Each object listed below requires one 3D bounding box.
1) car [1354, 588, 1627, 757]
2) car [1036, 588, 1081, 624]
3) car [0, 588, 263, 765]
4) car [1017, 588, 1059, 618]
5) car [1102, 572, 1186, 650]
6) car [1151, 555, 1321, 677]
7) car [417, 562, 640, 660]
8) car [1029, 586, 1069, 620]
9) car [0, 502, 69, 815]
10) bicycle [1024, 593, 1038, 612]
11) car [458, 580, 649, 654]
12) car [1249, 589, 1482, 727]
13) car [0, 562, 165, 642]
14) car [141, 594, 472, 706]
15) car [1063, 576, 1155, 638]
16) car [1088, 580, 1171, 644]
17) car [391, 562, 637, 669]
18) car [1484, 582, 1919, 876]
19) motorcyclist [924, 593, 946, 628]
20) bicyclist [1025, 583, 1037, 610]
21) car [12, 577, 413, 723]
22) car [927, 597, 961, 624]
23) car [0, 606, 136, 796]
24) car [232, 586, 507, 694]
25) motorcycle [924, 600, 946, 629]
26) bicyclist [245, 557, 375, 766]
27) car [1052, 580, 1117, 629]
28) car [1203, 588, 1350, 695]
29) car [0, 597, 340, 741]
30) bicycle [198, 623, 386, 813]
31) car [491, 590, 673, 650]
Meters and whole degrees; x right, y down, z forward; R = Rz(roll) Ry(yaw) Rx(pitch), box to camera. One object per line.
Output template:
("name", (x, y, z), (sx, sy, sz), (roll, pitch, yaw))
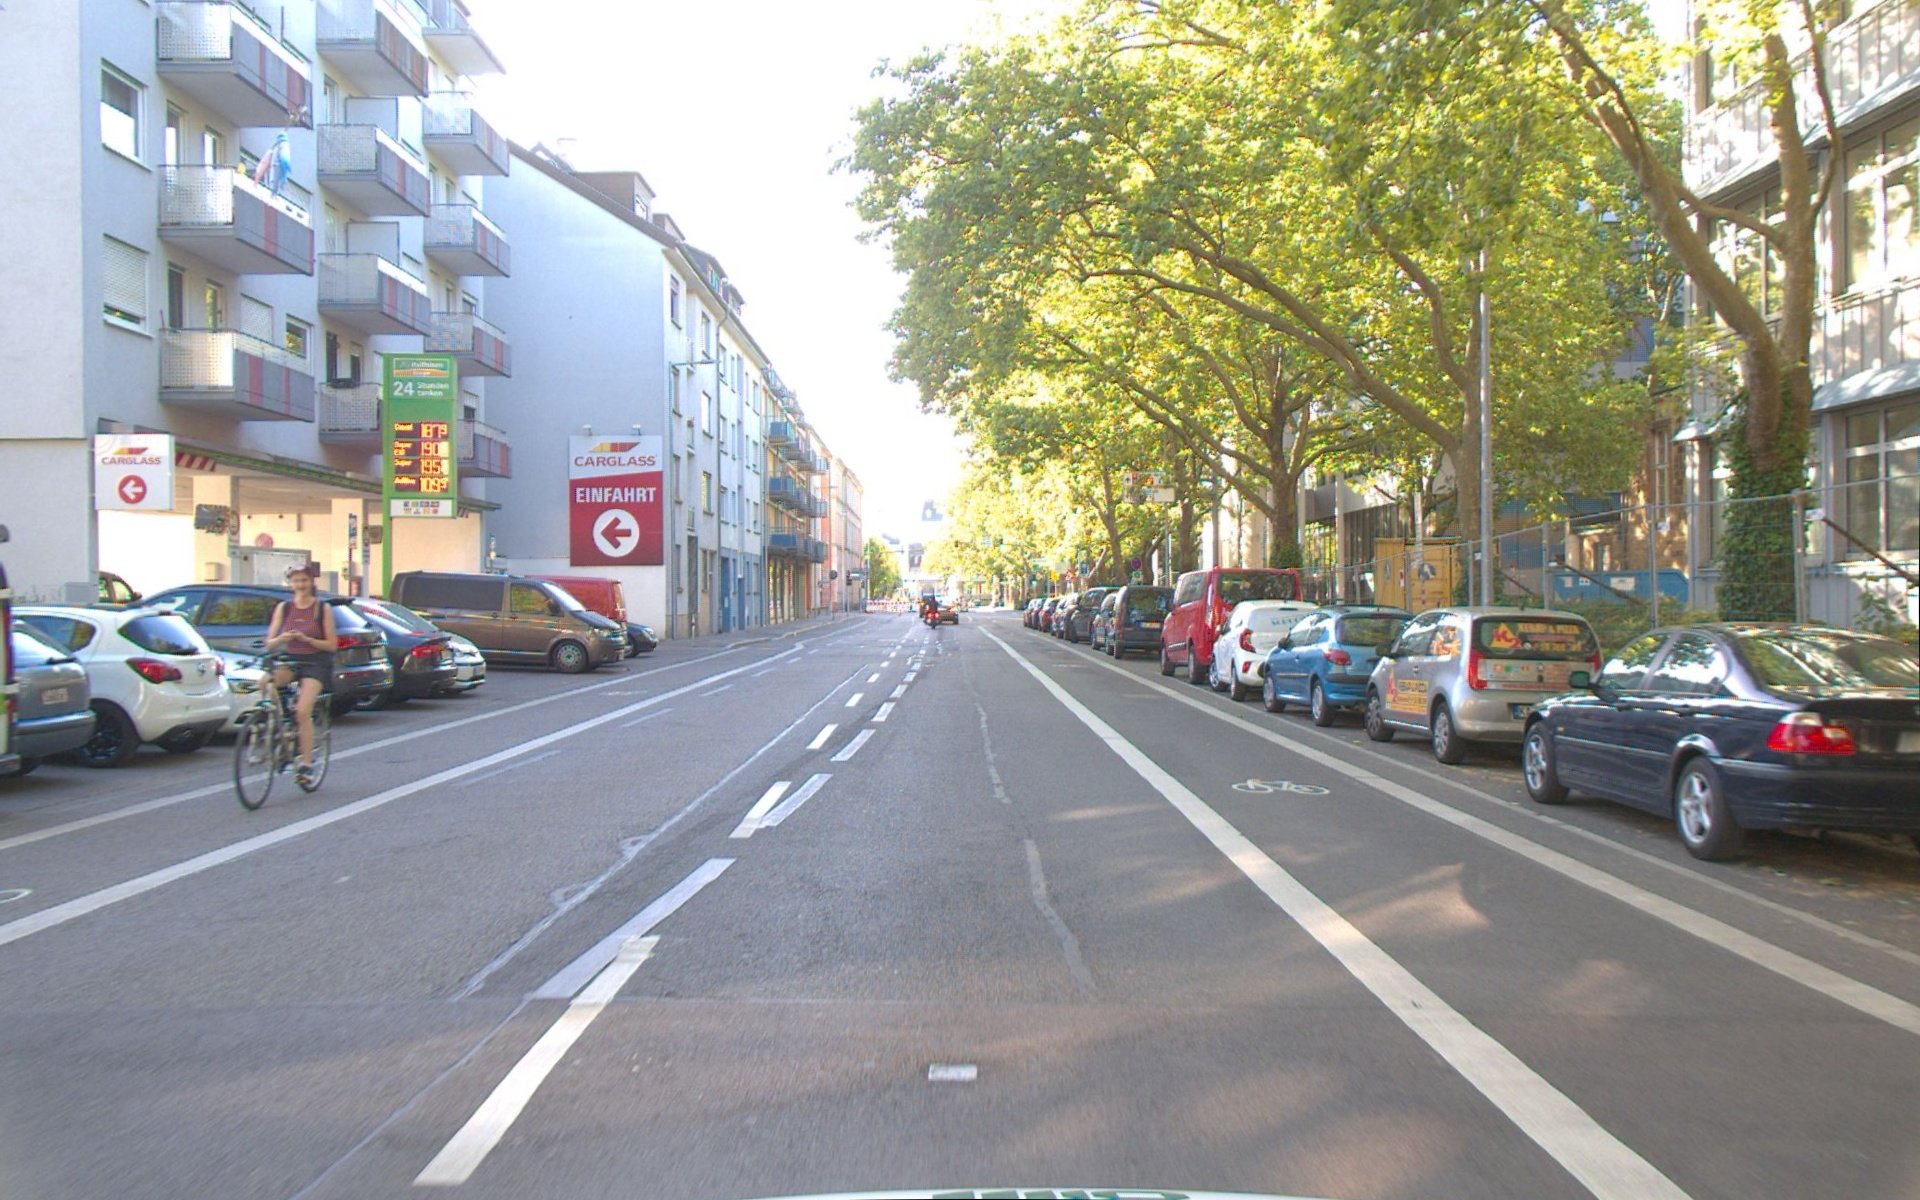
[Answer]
("car", (5.319, 0.662, 17.038), (1.581, 1.501, 3.492), (2, 1, -2))
("car", (4.321, 0.251, 73.182), (1.658, 1.505, 4.318), (1, 0, -1))
("car", (-9.154, 0.691, 16.136), (3.906, 1.586, 1.853), (1, 1, -1))
("car", (3.927, 0.130, 83.509), (1.659, 1.475, 4.433), (1, 0, -3))
("car", (4.621, 0.260, 42.025), (1.658, 1.844, 4.130), (1, 0, 0))
("car", (5.013, 0.253, 30.771), (2.036, 2.029, 5.169), (1, 0, -3))
("car", (-9.526, 0.229, 36.787), (4.331, 1.985, 2.146), (2, 0, -1))
("car", (4.221, 0.125, 78.635), (1.658, 1.492, 4.065), (1, 0, 0))
("car", (-9.276, 0.375, 11.672), (4.746, 2.255, 2.139), (1, 0, -1))
("bicycle", (4.145, 0.156, 96.365), (0.643, 1.089, 1.926), (1, 0, -1))
("car", (-9.731, 0.392, 39.856), (4.088, 1.591, 1.886), (2, 0, -1))
("car", (5.119, 0.672, 21.427), (1.818, 1.537, 3.926), (2, 1, -3))
("car", (-20.800, 0.061, 39.234), (1.686, 1.777, 4.584), (-1, 0, -1))
("car", (-9.161, 0.677, 23.426), (3.906, 1.481, 1.916), (1, 0, -1))
("car", (4.763, 0.185, 53.445), (1.791, 1.873, 4.889), (1, 0, -9))
("car", (4.729, 0.310, 46.648), (1.659, 1.656, 4.327), (1, 0, -3))
("car", (-9.080, 0.305, 33.979), (4.430, 1.985, 2.056), (2, 0, -1))
("car", (5.229, 0.676, 11.138), (1.817, 1.549, 4.598), (1, 1, -2))
("motorcyclist", (-1.200, 0.474, 77.983), (0.992, 1.630, 1.405), (-1, 0, -2))
("bicyclist", (4.152, -0.188, 96.435), (0.643, 1.557, 0.852), (1, 0, -2))
("car", (-9.299, 0.594, 20.856), (4.109, 1.713, 2.028), (1, 0, -1))
("car", (-0.892, 0.570, 90.222), (1.791, 1.445, 3.814), (0, 0, -2))
("car", (-9.354, 0.784, 13.891), (3.906, 1.458, 1.852), (1, 0, -1))
("car", (-9.176, 0.602, 25.906), (3.610, 1.540, 1.830), (1, 0, -1))
("motorcycle", (-1.186, 0.656, 77.890), (0.992, 1.329, 2.672), (-1, 0, -1))
("bicyclist", (-5.120, 0.461, 13.076), (0.594, 1.571, 0.934), (-2, 1, -1))
("car", (4.390, 0.140, 58.854), (1.740, 1.656, 4.618), (1, 0, -2))
("car", (4.890, 0.590, 25.986), (1.604, 1.511, 3.760), (1, 0, 1))
("car", (-9.157, 0.725, 18.263), (3.906, 1.458, 1.853), (1, 1, -1))
("bicycle", (-5.105, 0.854, 12.793), (0.594, 1.261, 2.049), (-2, 1, -1))
("car", (-9.584, 0.501, 42.162), (4.142, 1.404, 2.046), (1, 0, -1))
